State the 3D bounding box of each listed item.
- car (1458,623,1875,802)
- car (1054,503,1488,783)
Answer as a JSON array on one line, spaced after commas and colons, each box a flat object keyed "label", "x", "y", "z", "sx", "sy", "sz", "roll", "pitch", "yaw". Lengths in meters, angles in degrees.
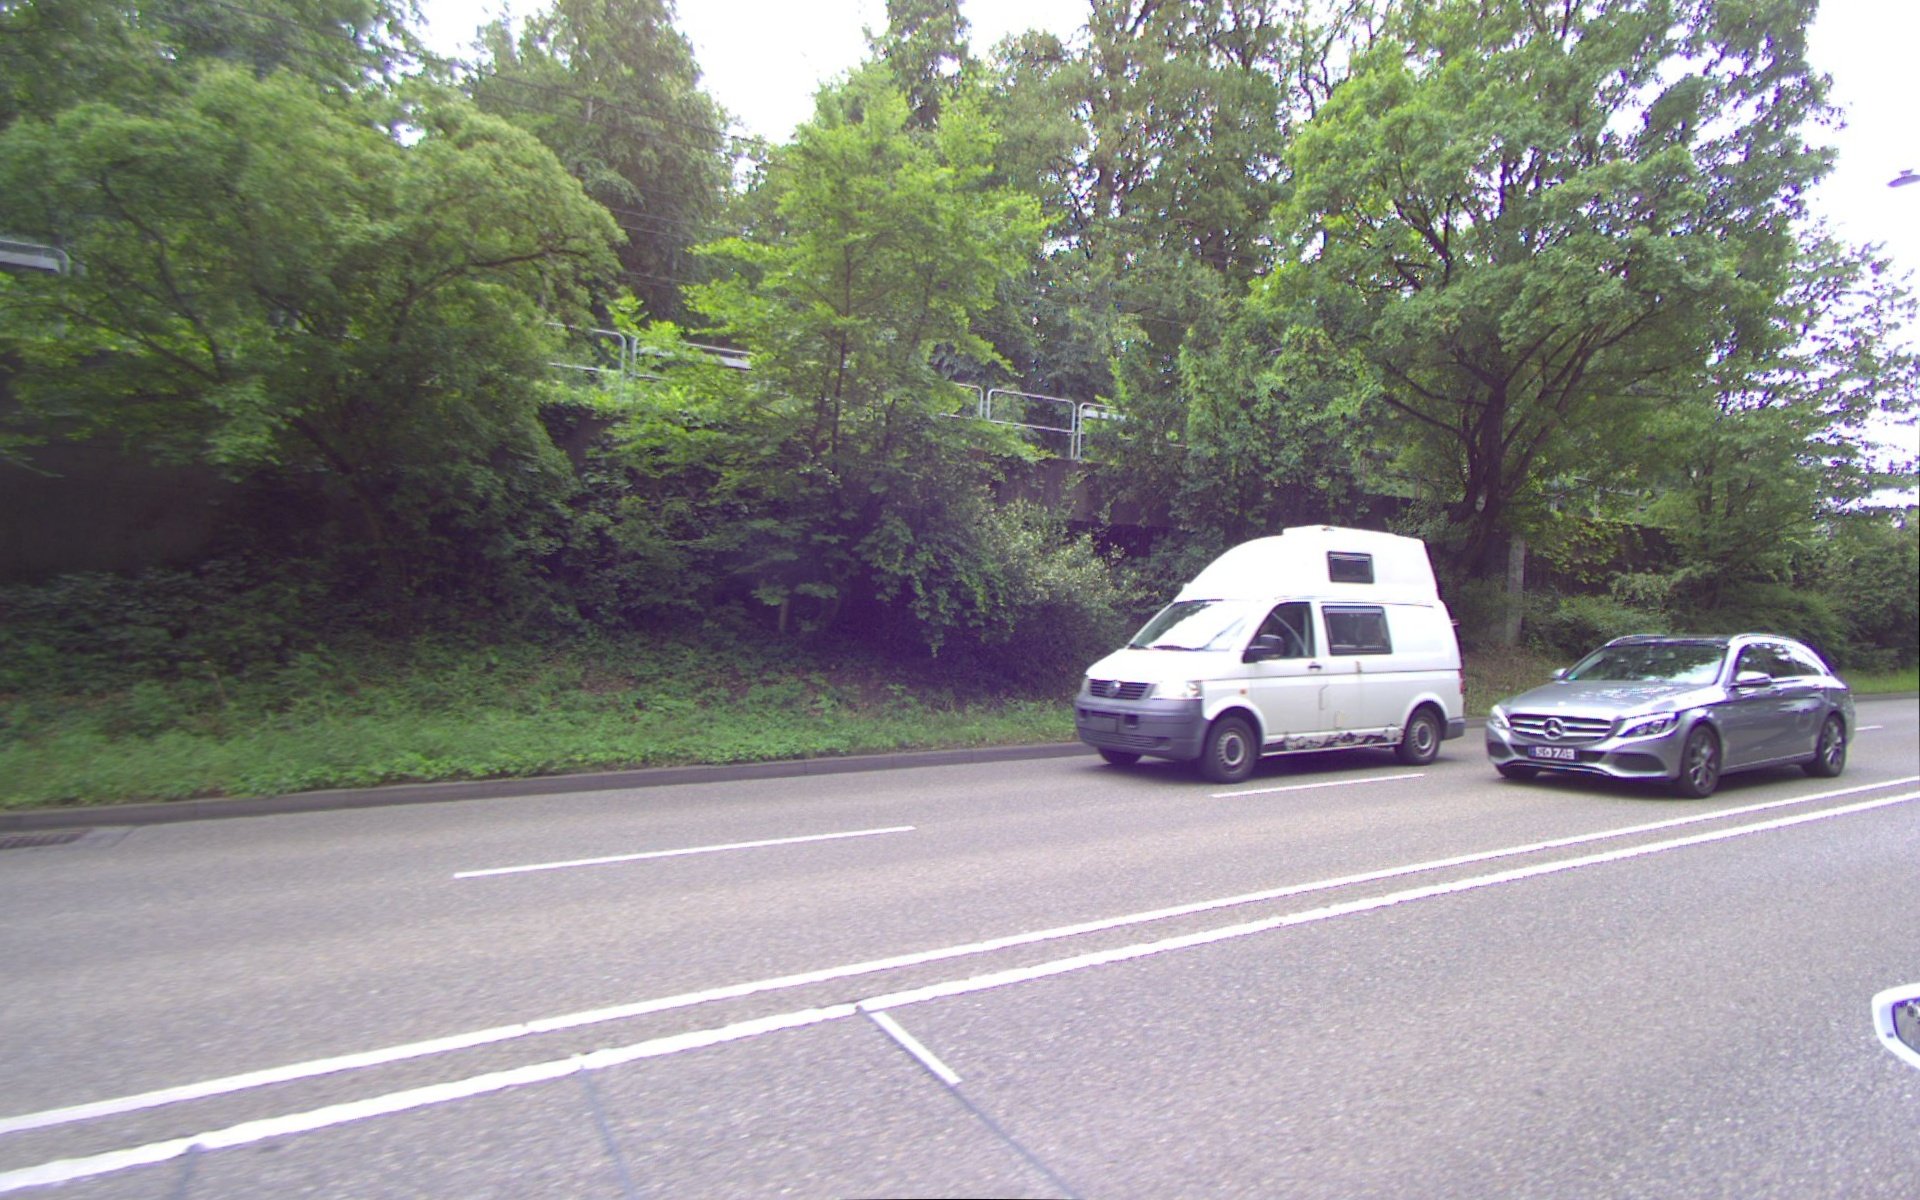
[{"label": "car", "x": 7.280, "y": 1.027, "z": 10.264, "sx": 4.414, "sy": 1.484, "sz": 1.830, "roll": 2, "pitch": -3, "yaw": -31}, {"label": "car", "x": 3.578, "y": 0.490, "z": 11.319, "sx": 4.857, "sy": 2.589, "sz": 1.879, "roll": 2, "pitch": -3, "yaw": -30}]
